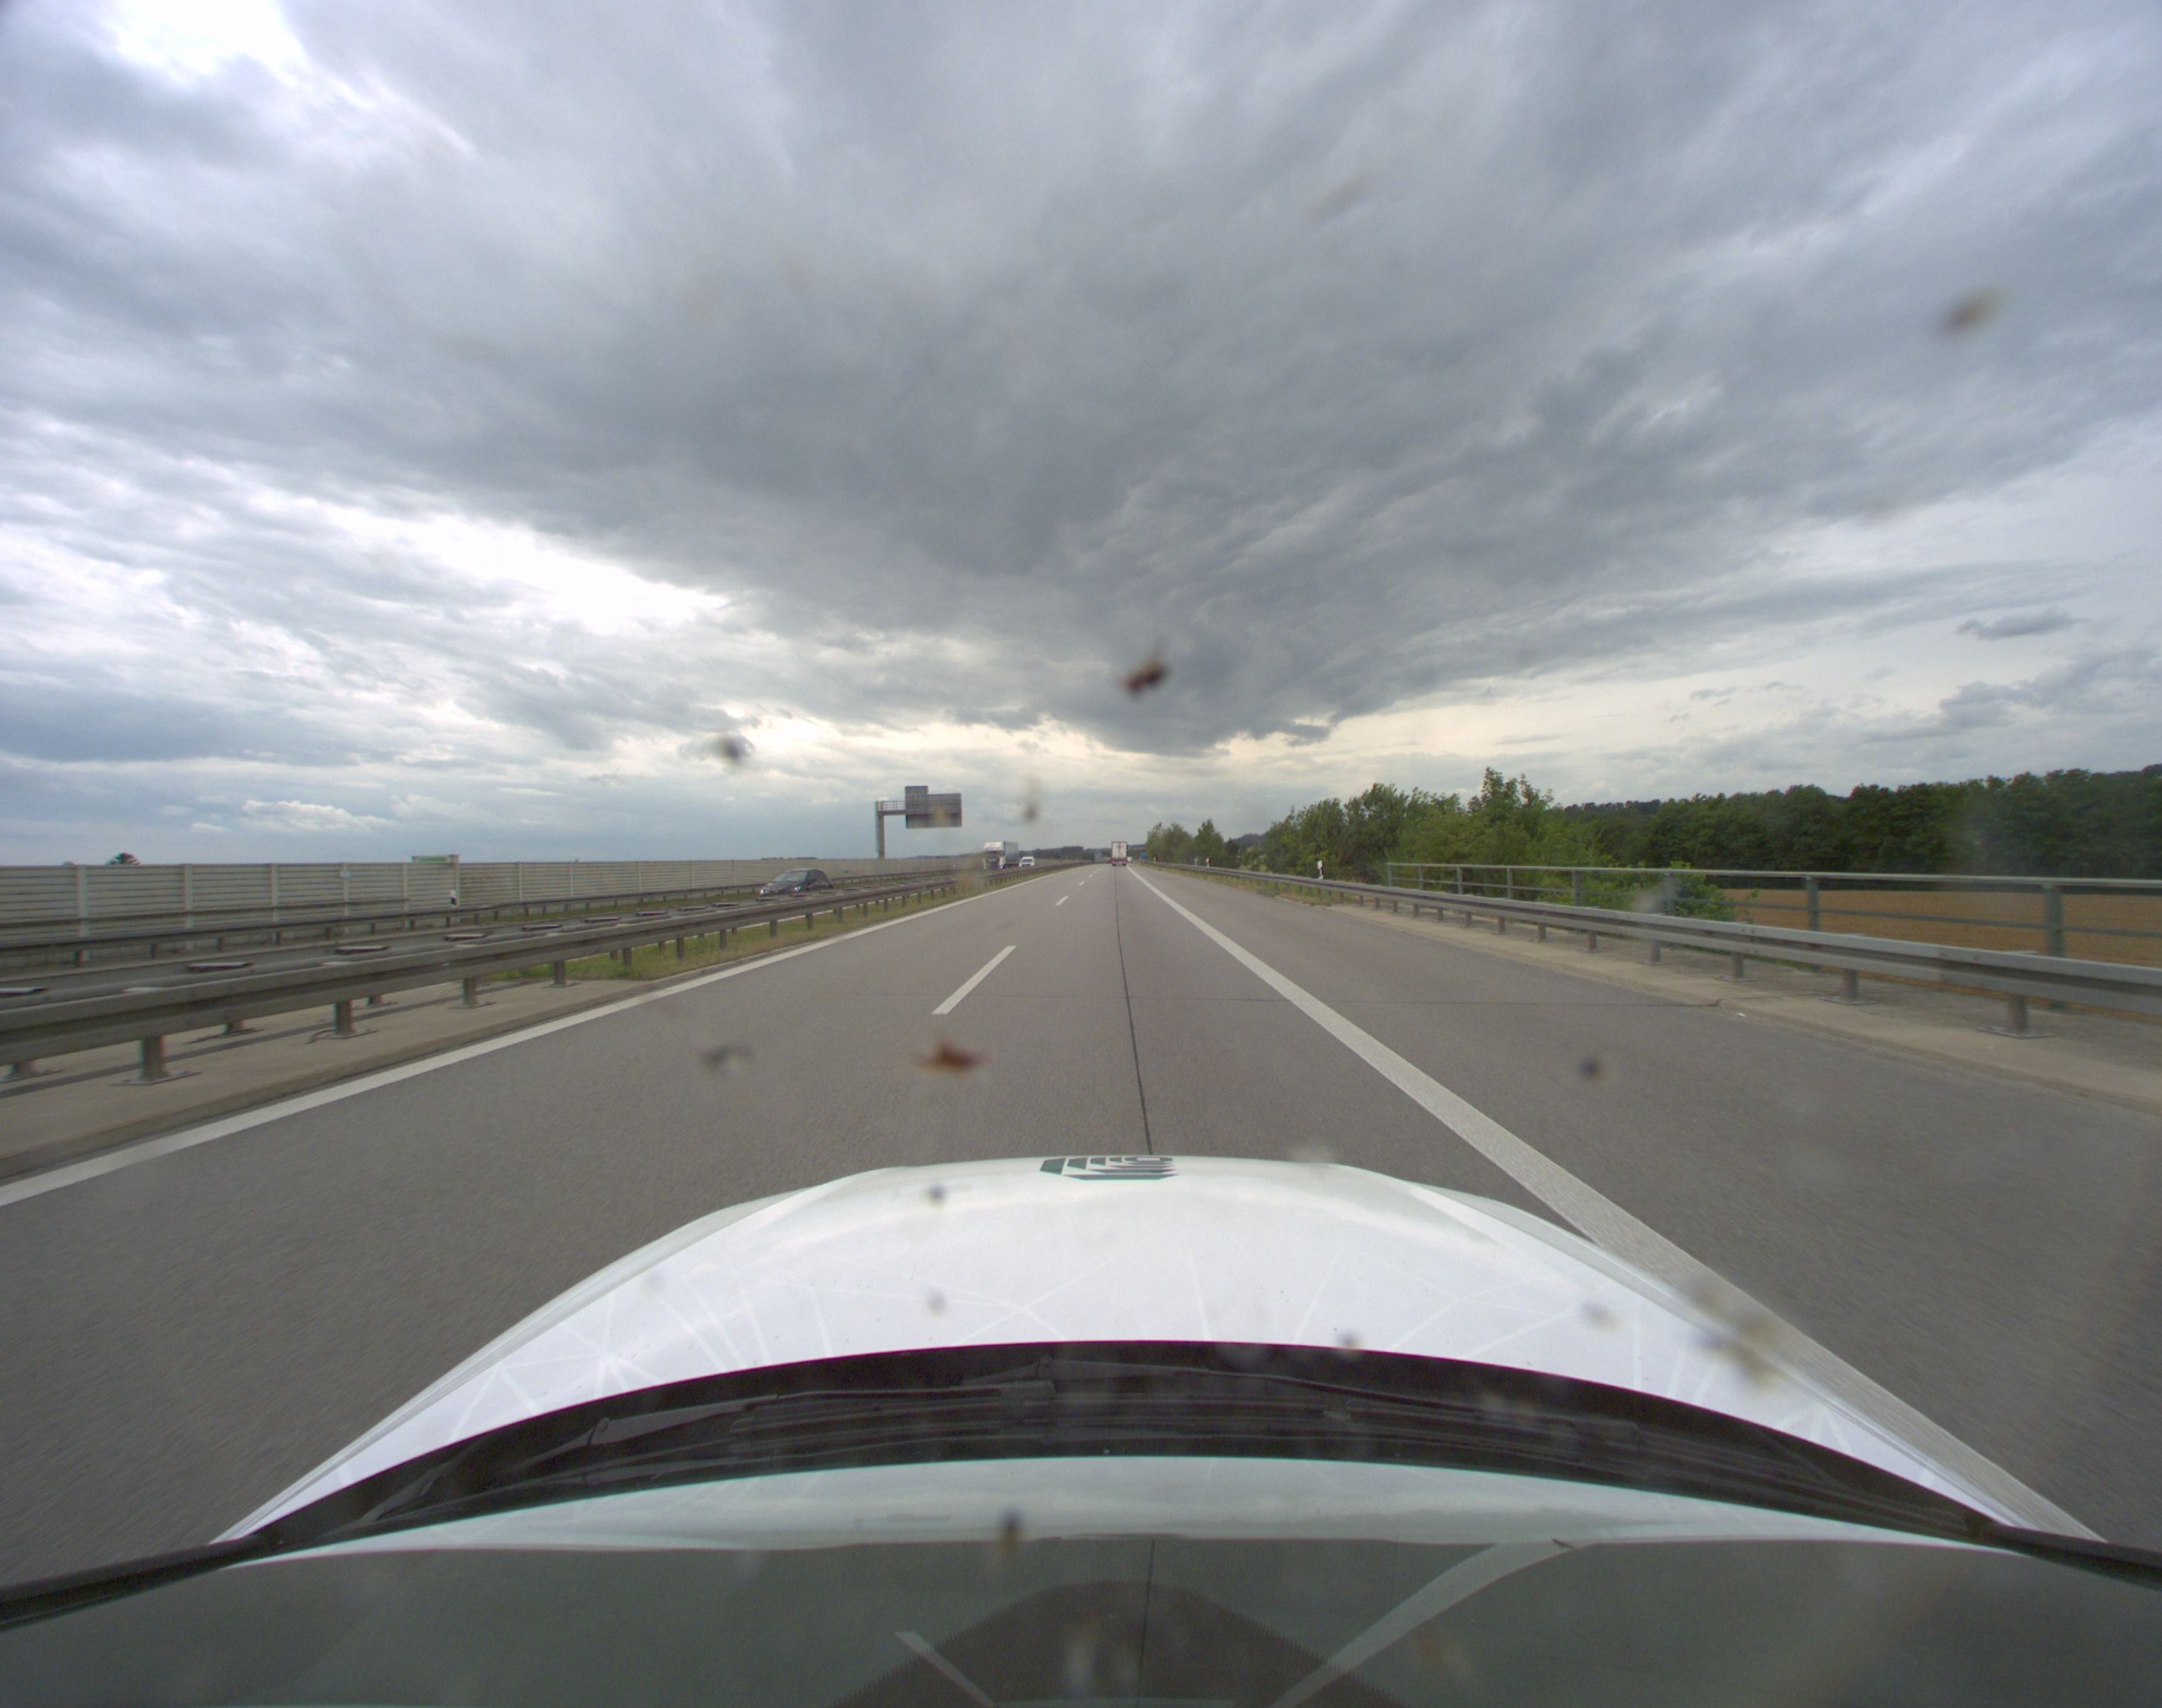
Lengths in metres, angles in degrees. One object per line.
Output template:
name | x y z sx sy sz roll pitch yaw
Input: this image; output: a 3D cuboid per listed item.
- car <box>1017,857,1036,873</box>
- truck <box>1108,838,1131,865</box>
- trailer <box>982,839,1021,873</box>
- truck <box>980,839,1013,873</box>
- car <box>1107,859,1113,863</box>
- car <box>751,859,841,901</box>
car | -6.758 1.327 101.181 1.807 1.847 4.183 4 0 2
truck | 6.680 -0.363 142.532 3.658 4.412 16.350 -1 -1 2
trailer | -10.608 0.291 110.351 3.167 4.076 14.030 -3 0 2
truck | -10.788 0.278 104.756 3.097 4.014 7.327 -3 0 2
car | 9.093 2.188 255.444 1.987 1.420 3.999 0 0 0
car | -11.589 0.999 33.480 1.789 1.373 4.685 -7 0 2
